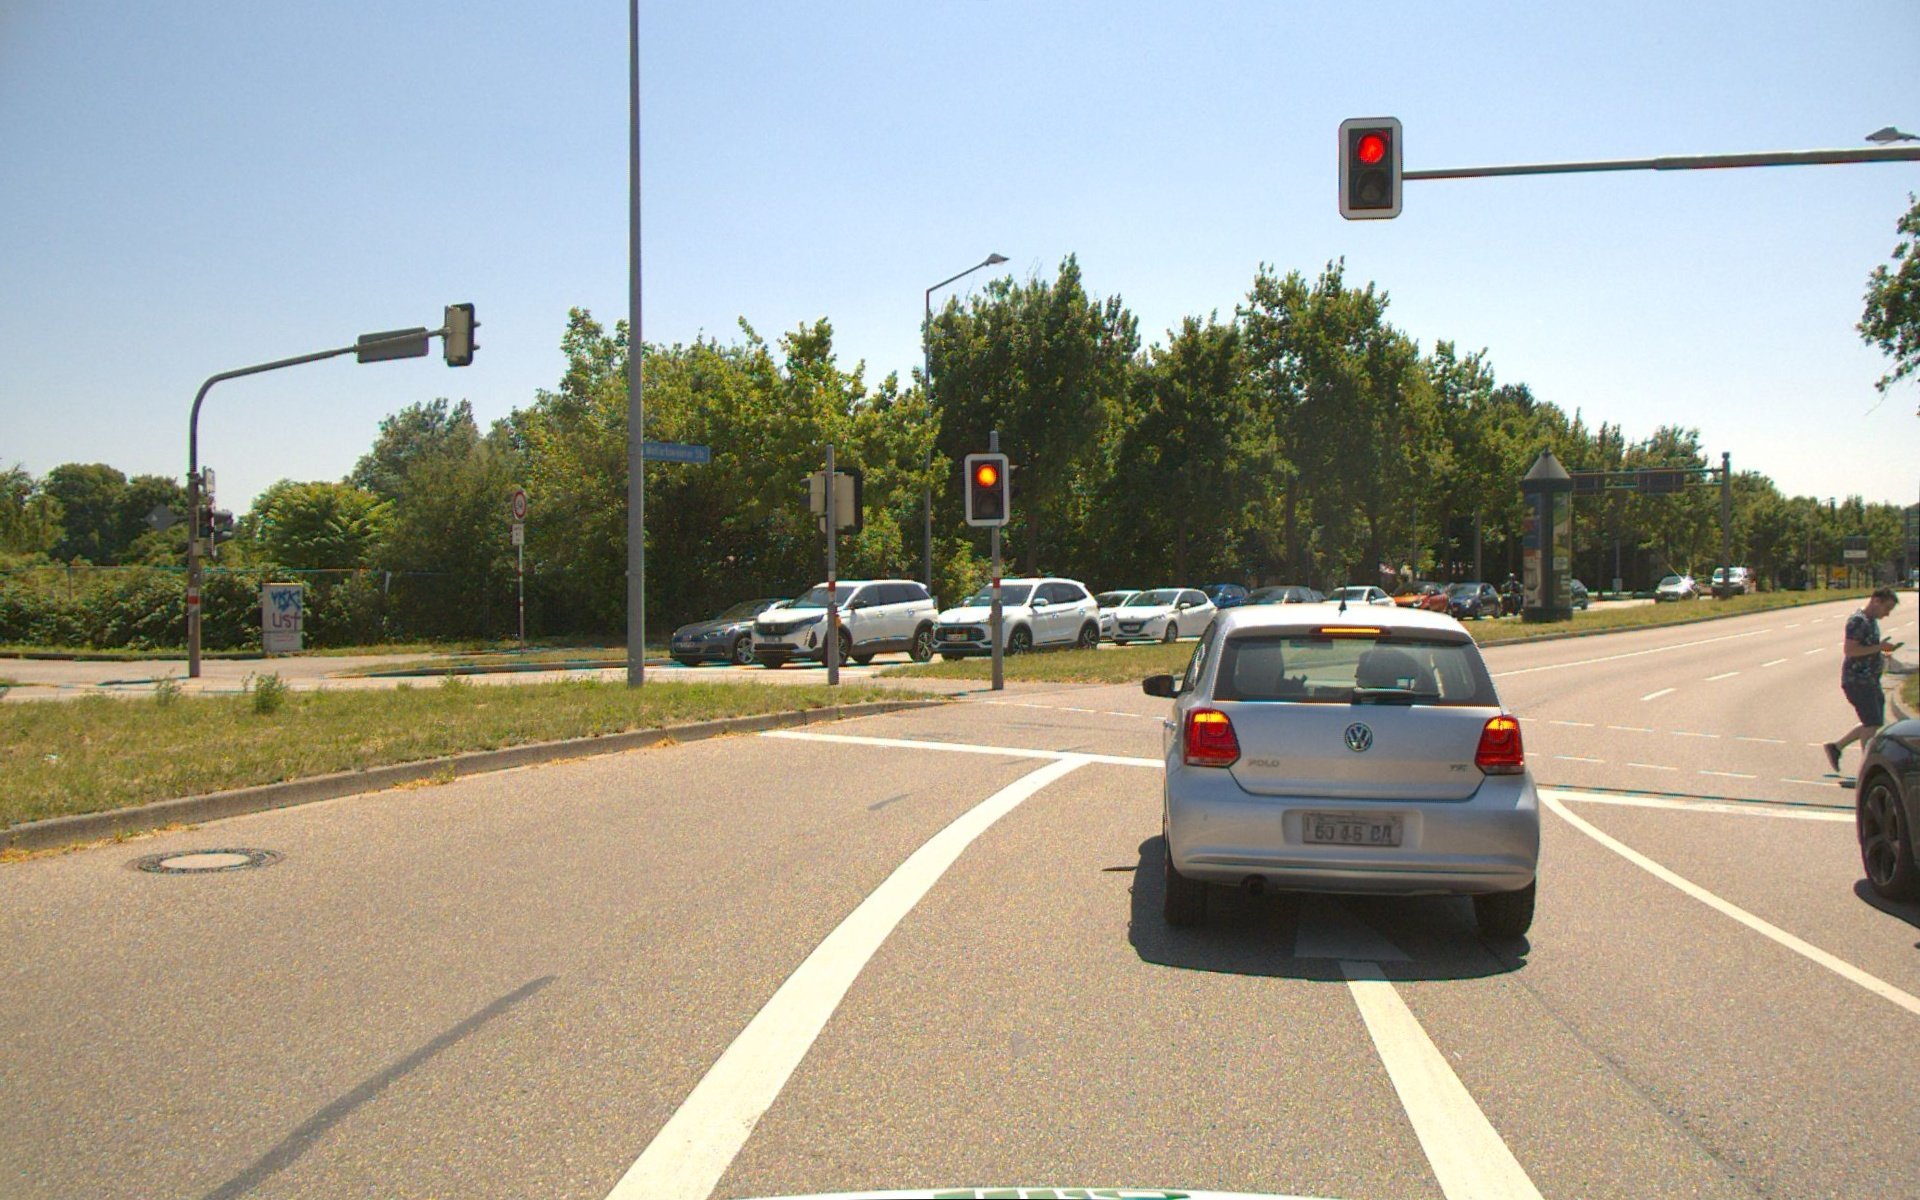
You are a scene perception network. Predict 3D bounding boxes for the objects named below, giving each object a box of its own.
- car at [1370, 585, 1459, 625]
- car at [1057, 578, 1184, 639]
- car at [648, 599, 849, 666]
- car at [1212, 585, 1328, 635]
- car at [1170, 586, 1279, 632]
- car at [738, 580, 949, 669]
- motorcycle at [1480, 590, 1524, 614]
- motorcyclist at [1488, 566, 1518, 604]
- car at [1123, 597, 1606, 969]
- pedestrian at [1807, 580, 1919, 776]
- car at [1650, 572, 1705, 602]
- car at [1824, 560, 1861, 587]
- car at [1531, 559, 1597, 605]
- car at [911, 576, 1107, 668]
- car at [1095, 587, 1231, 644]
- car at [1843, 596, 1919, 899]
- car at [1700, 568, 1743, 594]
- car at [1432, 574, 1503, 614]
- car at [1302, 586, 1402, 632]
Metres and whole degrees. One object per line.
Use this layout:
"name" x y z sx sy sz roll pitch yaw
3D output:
"car" 16.955 0.158 61.611 1.827 1.447 4.393 0 1 35
"car" 4.795 0.200 48.785 1.827 1.712 4.393 0 1 35
"car" -4.451 0.641 35.466 1.827 1.292 4.393 0 1 35
"car" 9.452 0.275 50.135 1.827 1.447 4.393 0 1 35
"car" 8.786 0.271 54.704 1.827 1.447 4.393 0 1 35
"car" -2.232 0.428 32.763 1.827 1.646 4.393 0 1 35
"motorcycle" 23.011 0.093 70.185 0.881 0.969 2.804 -2 -1 37
"motorcyclist" 23.085 -0.631 70.314 0.891 1.614 1.006 -2 -1 37
"car" 1.834 0.738 8.721 1.739 1.447 4.002 0 1 3
"pedestrian" 8.040 0.667 14.540 0.937 1.666 0.754 -2 -1 36
"car" 37.623 -0.696 86.733 1.936 1.514 3.987 0 1 34
"car" 61.338 -1.817 114.925 1.770 1.722 4.127 -2 -1 35
"car" 28.048 -0.810 76.771 1.959 2.049 3.988 -1 -1 34
"car" 1.061 0.381 33.148 1.827 1.712 4.393 0 1 35
"car" 5.555 0.369 44.813 1.827 1.447 4.393 0 1 35
"car" 5.353 0.735 6.672 1.951 1.443 4.460 0 1 11
"car" 47.607 -1.192 103.344 1.830 1.582 3.988 0 1 34
"car" 20.146 -0.224 65.590 1.685 1.501 3.785 -1 -1 34
"car" 13.283 0.272 55.923 1.827 1.447 4.393 0 1 35
